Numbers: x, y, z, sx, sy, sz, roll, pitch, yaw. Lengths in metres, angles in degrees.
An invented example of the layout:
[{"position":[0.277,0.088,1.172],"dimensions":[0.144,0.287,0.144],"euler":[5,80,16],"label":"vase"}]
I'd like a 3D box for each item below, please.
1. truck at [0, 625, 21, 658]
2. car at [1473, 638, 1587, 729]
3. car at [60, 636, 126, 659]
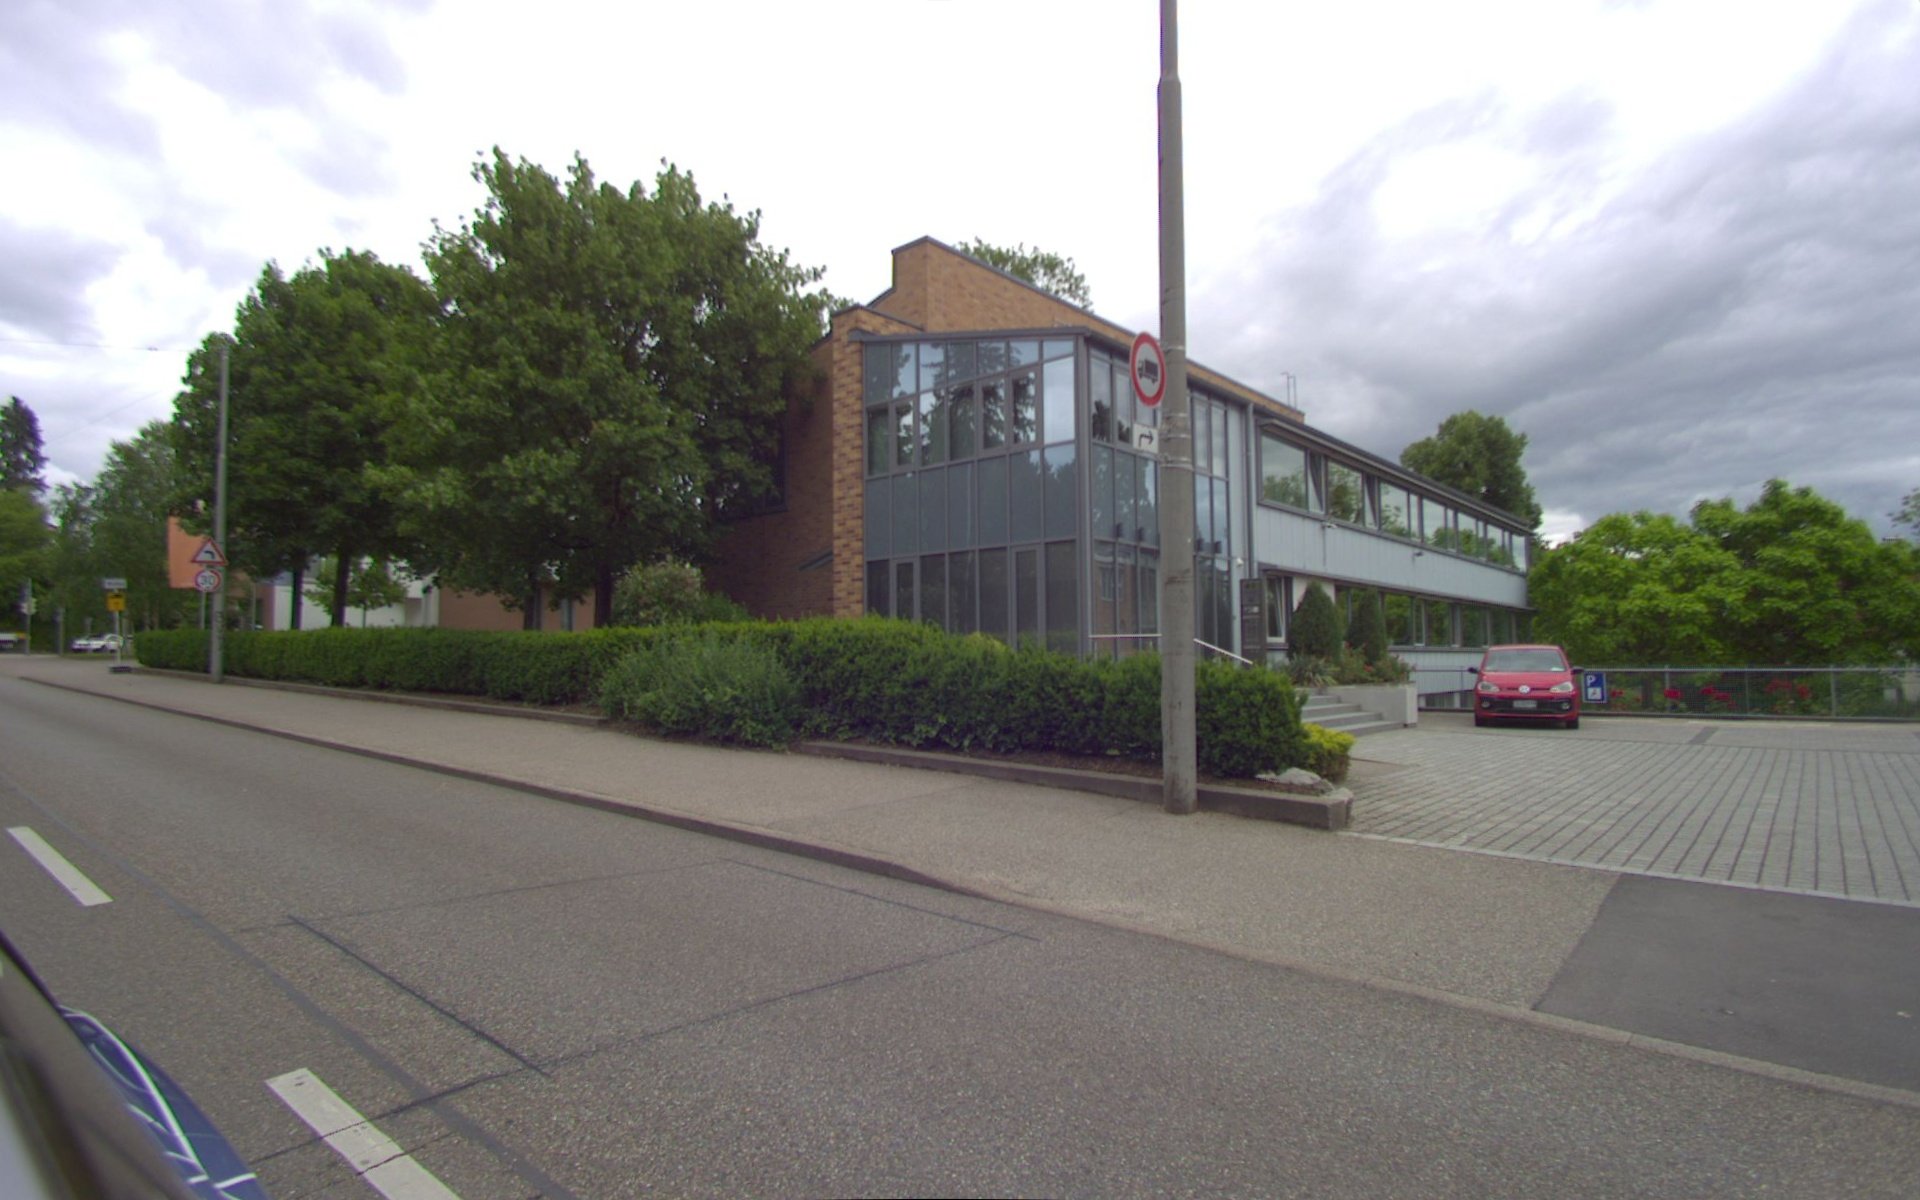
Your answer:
[{"position":[-67.616,2.699,67.794],"dimensions":[6.610,2.205,2.534],"euler":[4,-4,-39],"label":"truck"},{"position":[10.536,1.472,18.773],"dimensions":[1.650,1.503,3.422],"euler":[-2,-3,29],"label":"car"},{"position":[-64.507,3.555,75.353],"dimensions":[1.967,1.625,4.009],"euler":[2,-4,-12],"label":"car"}]
